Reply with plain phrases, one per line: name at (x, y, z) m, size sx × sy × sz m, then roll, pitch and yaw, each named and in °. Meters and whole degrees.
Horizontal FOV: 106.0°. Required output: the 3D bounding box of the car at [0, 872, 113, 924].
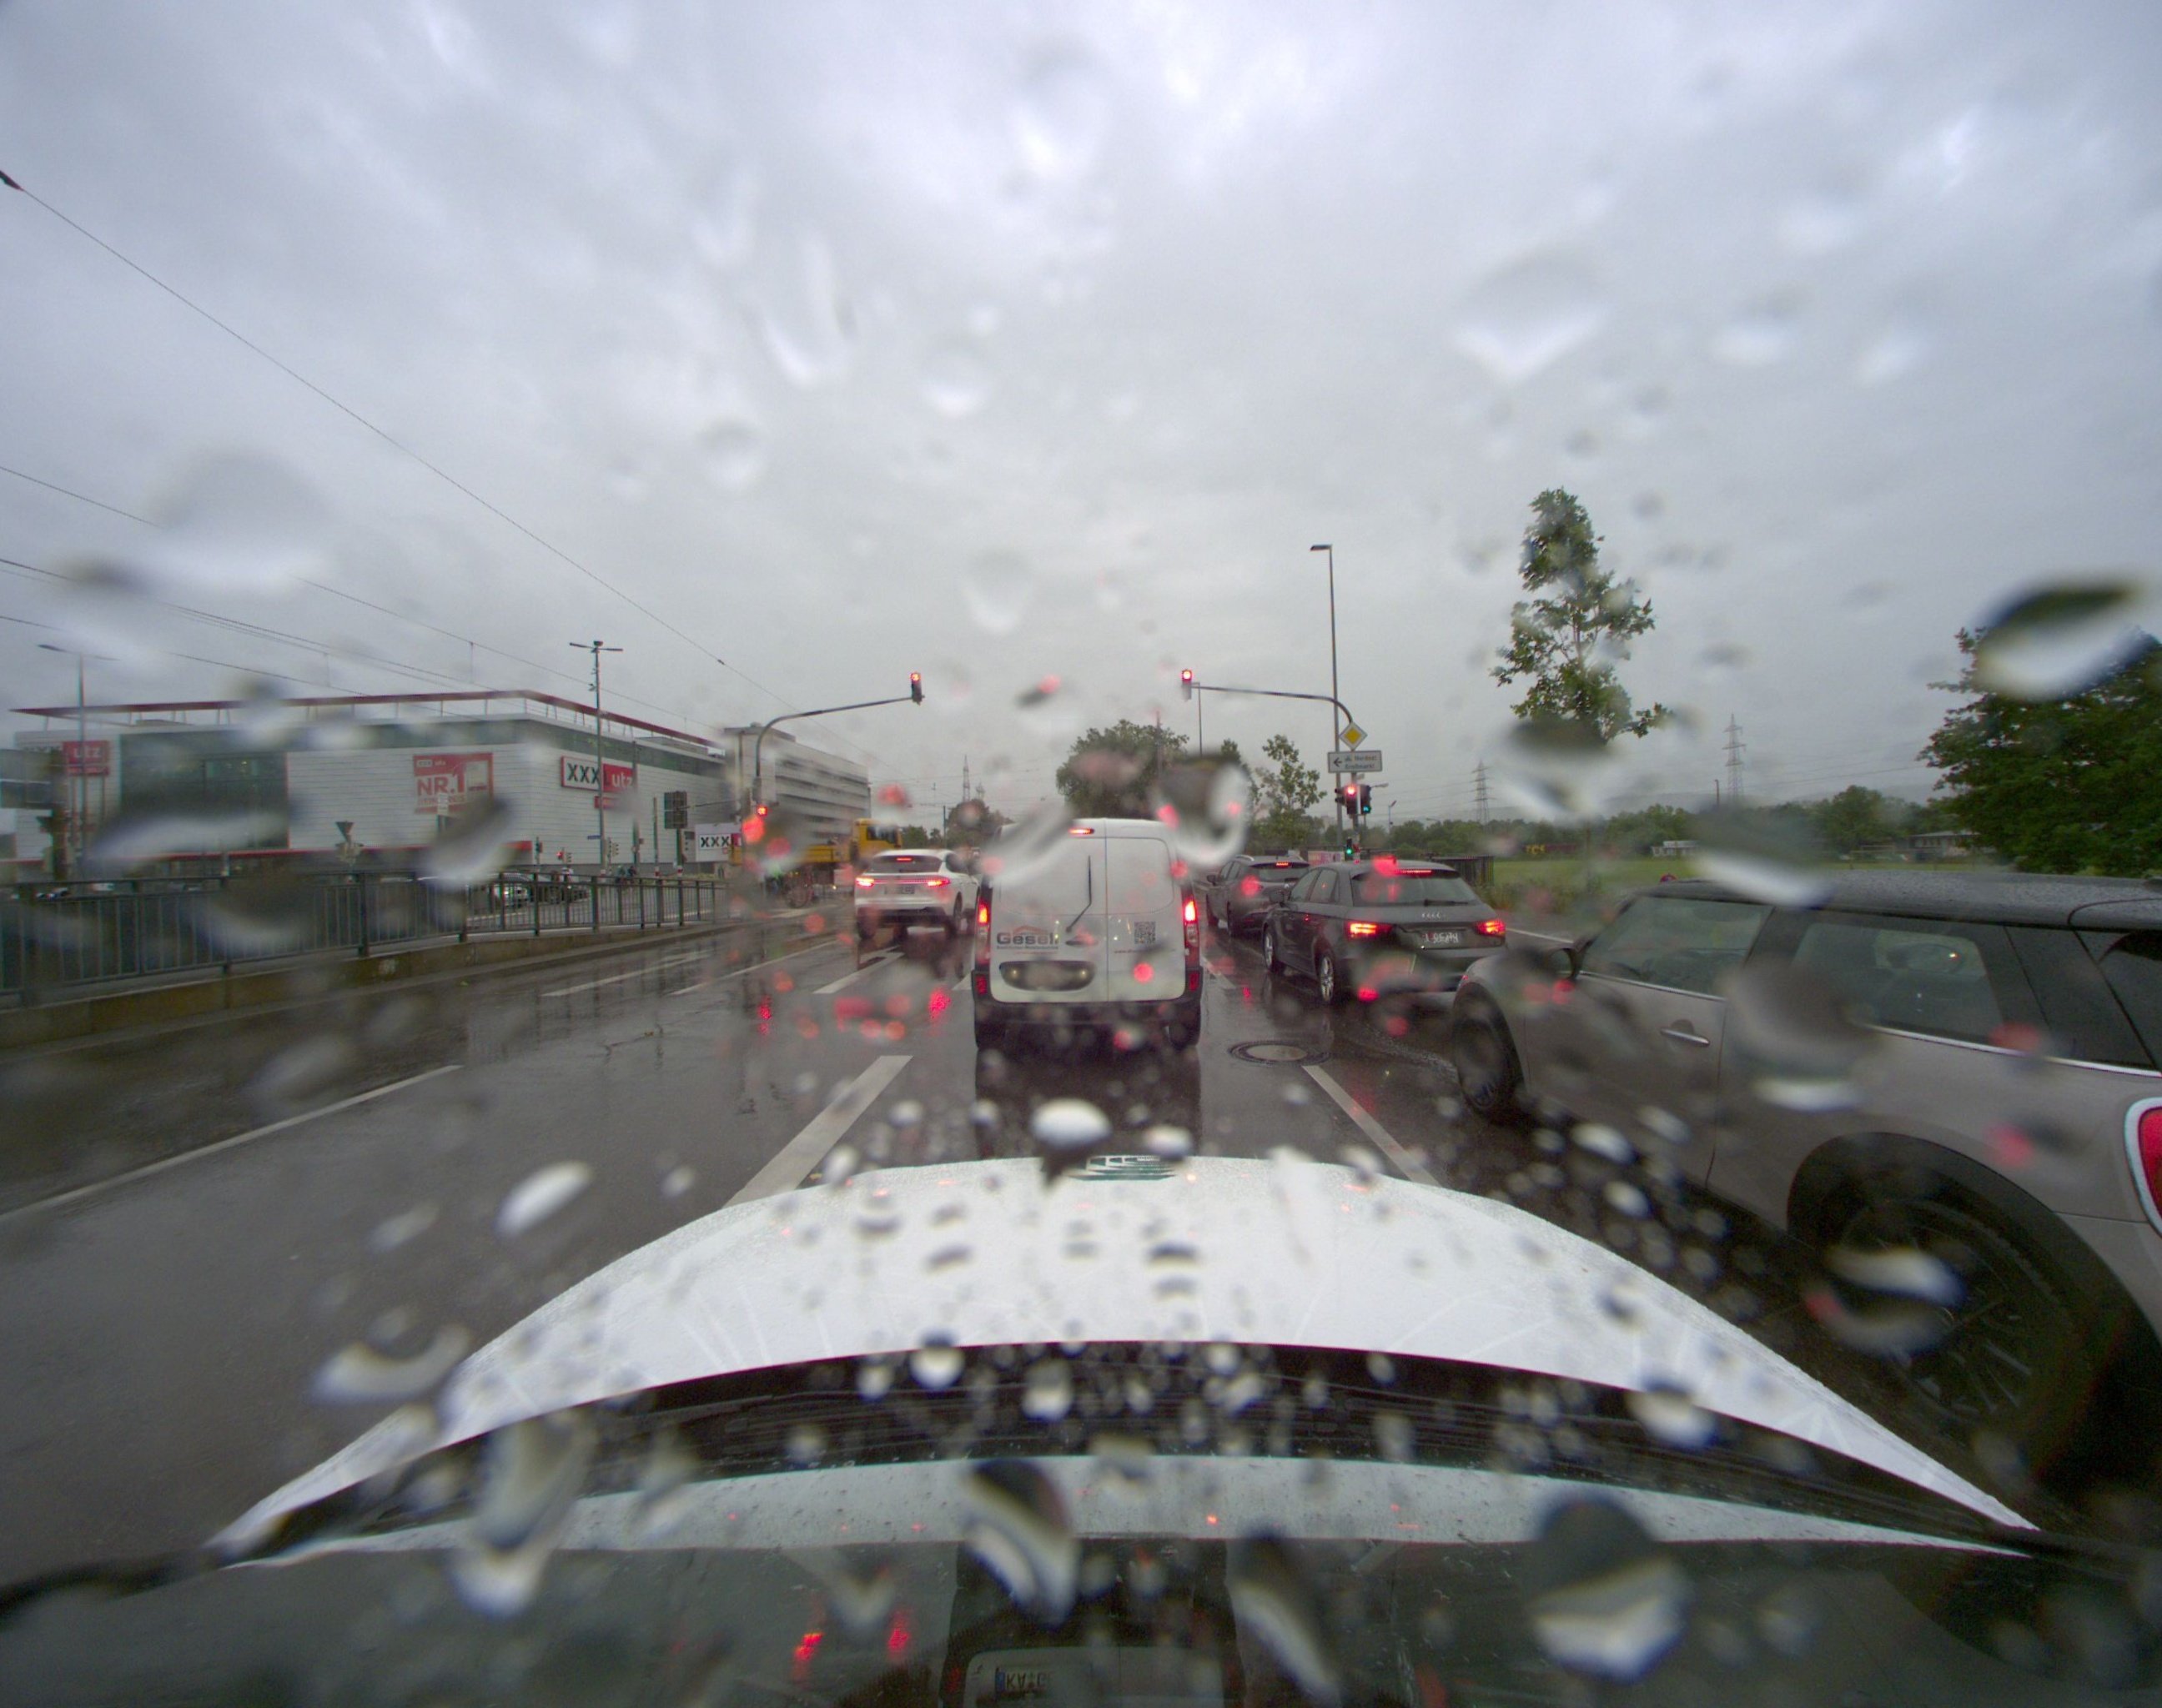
car at (-42.715, 1.750, 33.147) m, size 4.298 × 2.014 × 2.001 m, roll 0°, pitch -1°, yaw 1°

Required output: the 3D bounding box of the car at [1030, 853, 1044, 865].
car at (-5.920, 0.677, 109.916) m, size 1.613 × 1.503 × 3.705 m, roll 0°, pitch -1°, yaw -8°

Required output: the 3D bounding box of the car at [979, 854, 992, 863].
car at (-19.632, 0.976, 167.130) m, size 1.985 × 1.708 × 4.004 m, roll 0°, pitch -1°, yaw 3°

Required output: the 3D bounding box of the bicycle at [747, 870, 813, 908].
bicycle at (-8.787, 1.022, 23.795) m, size 1.745 × 1.034 × 0.414 m, roll 2°, pitch -1°, yaw 0°

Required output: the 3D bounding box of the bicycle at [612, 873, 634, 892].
bicycle at (-26.606, 1.669, 47.279) m, size 0.409 × 1.061 × 1.509 m, roll 0°, pitch -1°, yaw 1°

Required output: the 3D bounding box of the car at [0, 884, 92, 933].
car at (-39.212, 1.963, 29.539) m, size 3.979 × 1.688 × 1.997 m, roll 0°, pitch -1°, yaw -5°

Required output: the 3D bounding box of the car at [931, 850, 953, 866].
car at (-17.817, 0.510, 104.620) m, size 1.985 × 2.014 × 4.004 m, roll 0°, pitch -1°, yaw 3°

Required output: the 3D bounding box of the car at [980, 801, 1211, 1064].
car at (0.163, 0.551, 7.612) m, size 1.560 × 1.788 × 4.002 m, roll -1°, pitch 0°, yaw 2°

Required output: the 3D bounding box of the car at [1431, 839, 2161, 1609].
car at (2.989, 0.718, 3.213) m, size 1.707 × 1.508 × 3.624 m, roll 0°, pitch 0°, yaw 1°

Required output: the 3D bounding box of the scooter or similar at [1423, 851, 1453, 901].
scooter or similar at (8.484, 0.518, 19.398) m, size 0.244 × 1.158 × 1.187 m, roll 0°, pitch -1°, yaw 3°

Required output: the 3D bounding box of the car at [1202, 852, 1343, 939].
car at (3.492, 0.695, 15.558) m, size 1.853 × 1.428 × 3.808 m, roll 0°, pitch 0°, yaw 1°

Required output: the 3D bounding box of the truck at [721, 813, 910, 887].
truck at (-10.949, -0.178, 33.774) m, size 7.160 × 2.816 × 2.618 m, roll 0°, pitch -1°, yaw -27°

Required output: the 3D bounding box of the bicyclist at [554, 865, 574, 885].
bicyclist at (-28.903, 1.168, 45.528) m, size 0.681 × 1.134 × 0.647 m, roll 0°, pitch -1°, yaw 3°

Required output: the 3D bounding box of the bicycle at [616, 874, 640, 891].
bicycle at (-27.604, 1.752, 49.641) m, size 0.448 × 0.987 × 1.710 m, roll 0°, pitch -1°, yaw 3°

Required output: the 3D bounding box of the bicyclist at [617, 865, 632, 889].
bicyclist at (-26.595, 1.345, 47.424) m, size 0.531 × 1.399 × 0.650 m, roll 0°, pitch -1°, yaw -1°

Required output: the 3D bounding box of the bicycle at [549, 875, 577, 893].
bicycle at (-28.889, 1.669, 45.446) m, size 0.448 × 0.987 × 1.710 m, roll 0°, pitch -1°, yaw 3°

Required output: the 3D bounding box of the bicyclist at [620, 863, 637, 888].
bicyclist at (-27.614, 1.303, 49.737) m, size 0.681 × 1.464 × 0.647 m, roll 0°, pitch -1°, yaw 3°

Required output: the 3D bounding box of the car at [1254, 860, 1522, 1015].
car at (3.083, 0.745, 8.968) m, size 1.623 × 1.344 × 3.624 m, roll 0°, pitch 0°, yaw 1°

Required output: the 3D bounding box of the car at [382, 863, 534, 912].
car at (-22.609, 1.184, 29.706) m, size 4.073 × 1.660 × 1.612 m, roll 0°, pitch -1°, yaw -15°

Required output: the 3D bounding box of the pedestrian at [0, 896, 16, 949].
pedestrian at (-32.378, 2.041, 24.092) m, size 0.561 × 1.537 × 0.872 m, roll 0°, pitch -1°, yaw 1°

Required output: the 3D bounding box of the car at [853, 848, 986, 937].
car at (-3.069, 0.649, 16.346) m, size 1.723 × 1.535 × 4.298 m, roll 0°, pitch 0°, yaw 1°

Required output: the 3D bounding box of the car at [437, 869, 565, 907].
car at (-23.115, 1.345, 32.598) m, size 3.735 × 1.410 × 1.832 m, roll 0°, pitch -1°, yaw -13°
